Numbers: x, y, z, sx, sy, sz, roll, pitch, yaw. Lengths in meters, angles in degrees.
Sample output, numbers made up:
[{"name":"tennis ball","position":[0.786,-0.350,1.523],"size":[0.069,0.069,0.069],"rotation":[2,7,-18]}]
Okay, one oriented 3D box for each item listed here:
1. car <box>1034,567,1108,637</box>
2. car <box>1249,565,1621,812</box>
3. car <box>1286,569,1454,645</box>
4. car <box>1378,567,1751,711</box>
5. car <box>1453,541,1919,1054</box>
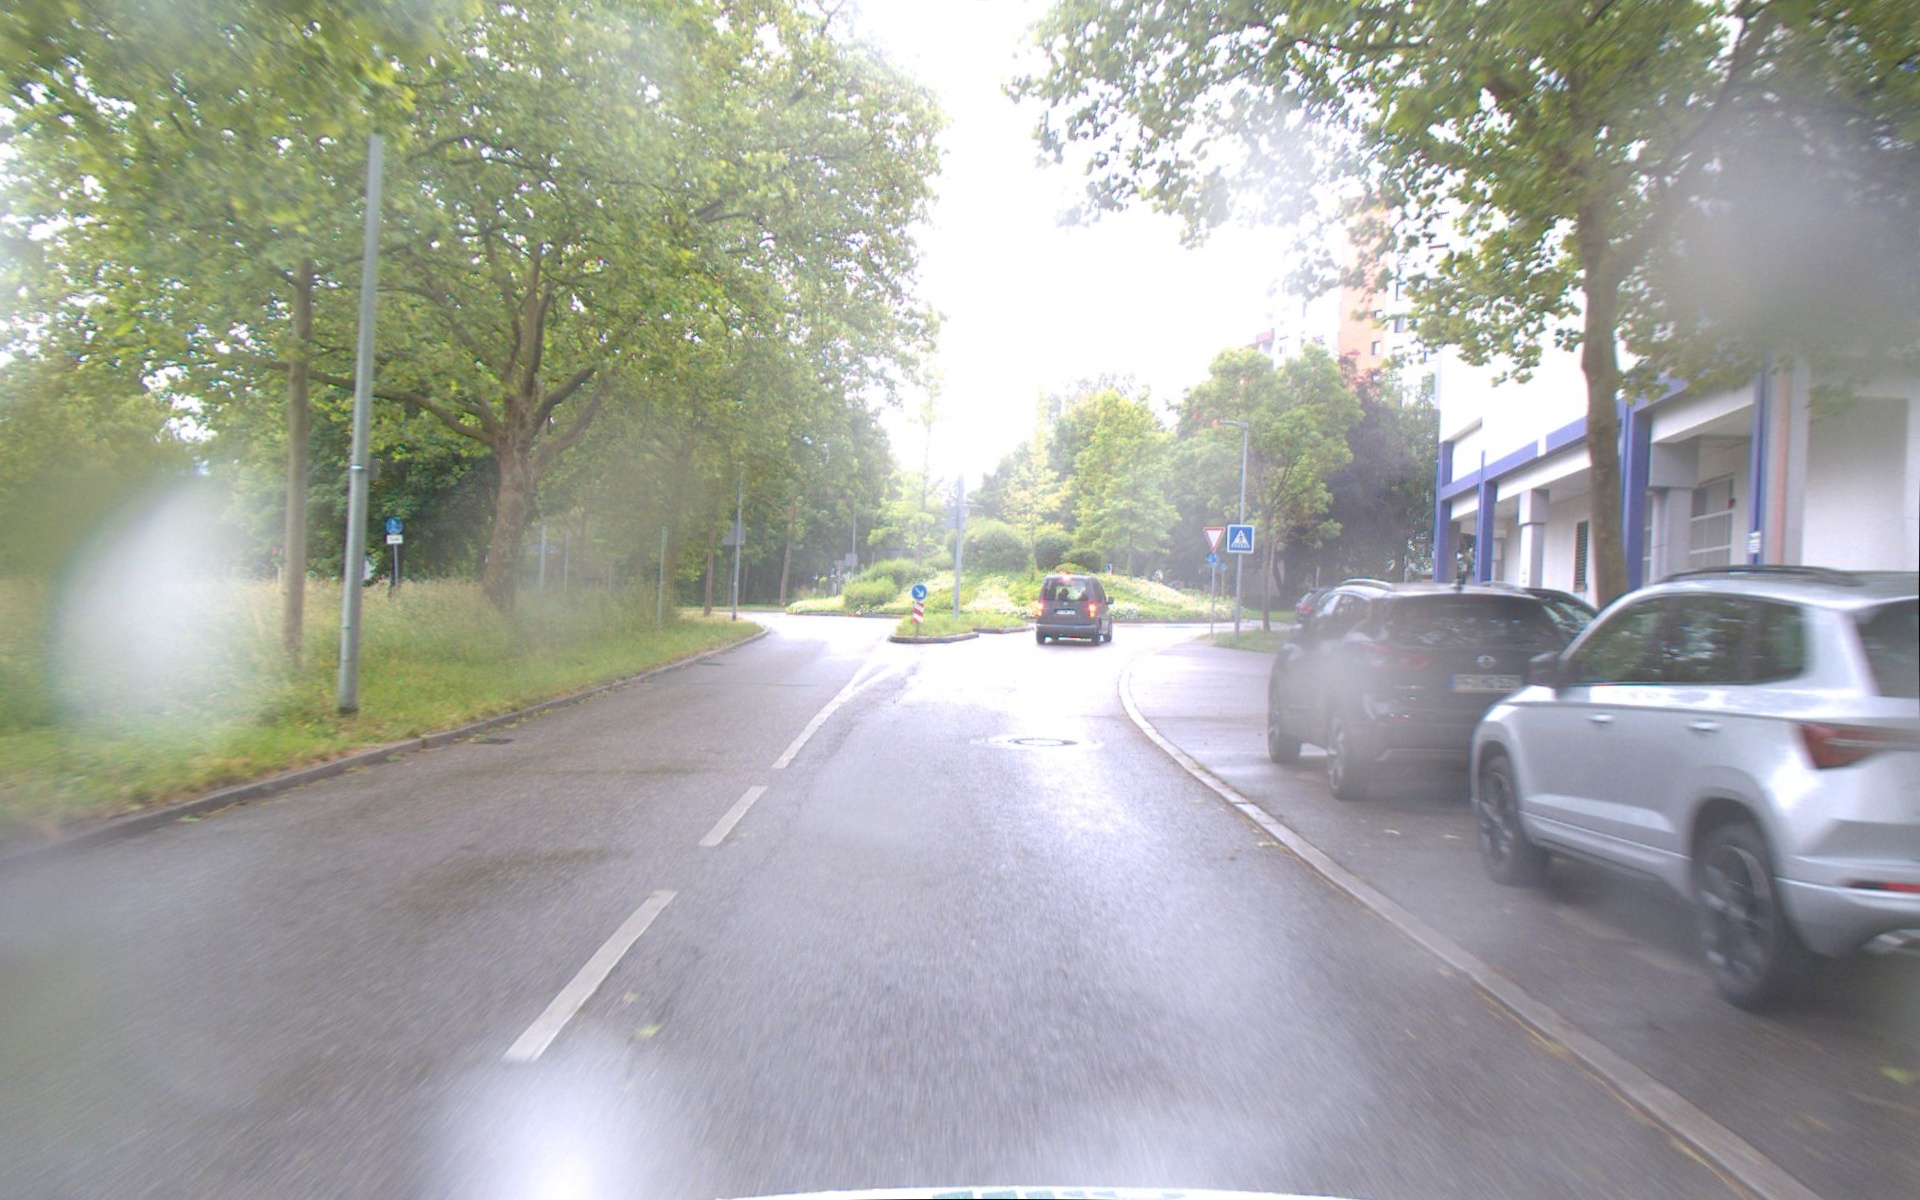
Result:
[{"name":"car","position":[3.013,0.052,45.508],"size":[1.878,1.833,3.790],"rotation":[0,0,2]},{"name":"car","position":[3.589,0.604,13.358],"size":[1.764,1.630,4.371],"rotation":[1,0,0]},{"name":"car","position":[11.481,0.169,46.582],"size":[4.285,1.789,1.831],"rotation":[4,2,6]},{"name":"car","position":[8.122,0.494,22.501],"size":[4.378,1.709,1.768],"rotation":[2,1,1]},{"name":"car","position":[3.685,0.632,7.362],"size":[1.692,1.619,4.252],"rotation":[0,0,0]}]
